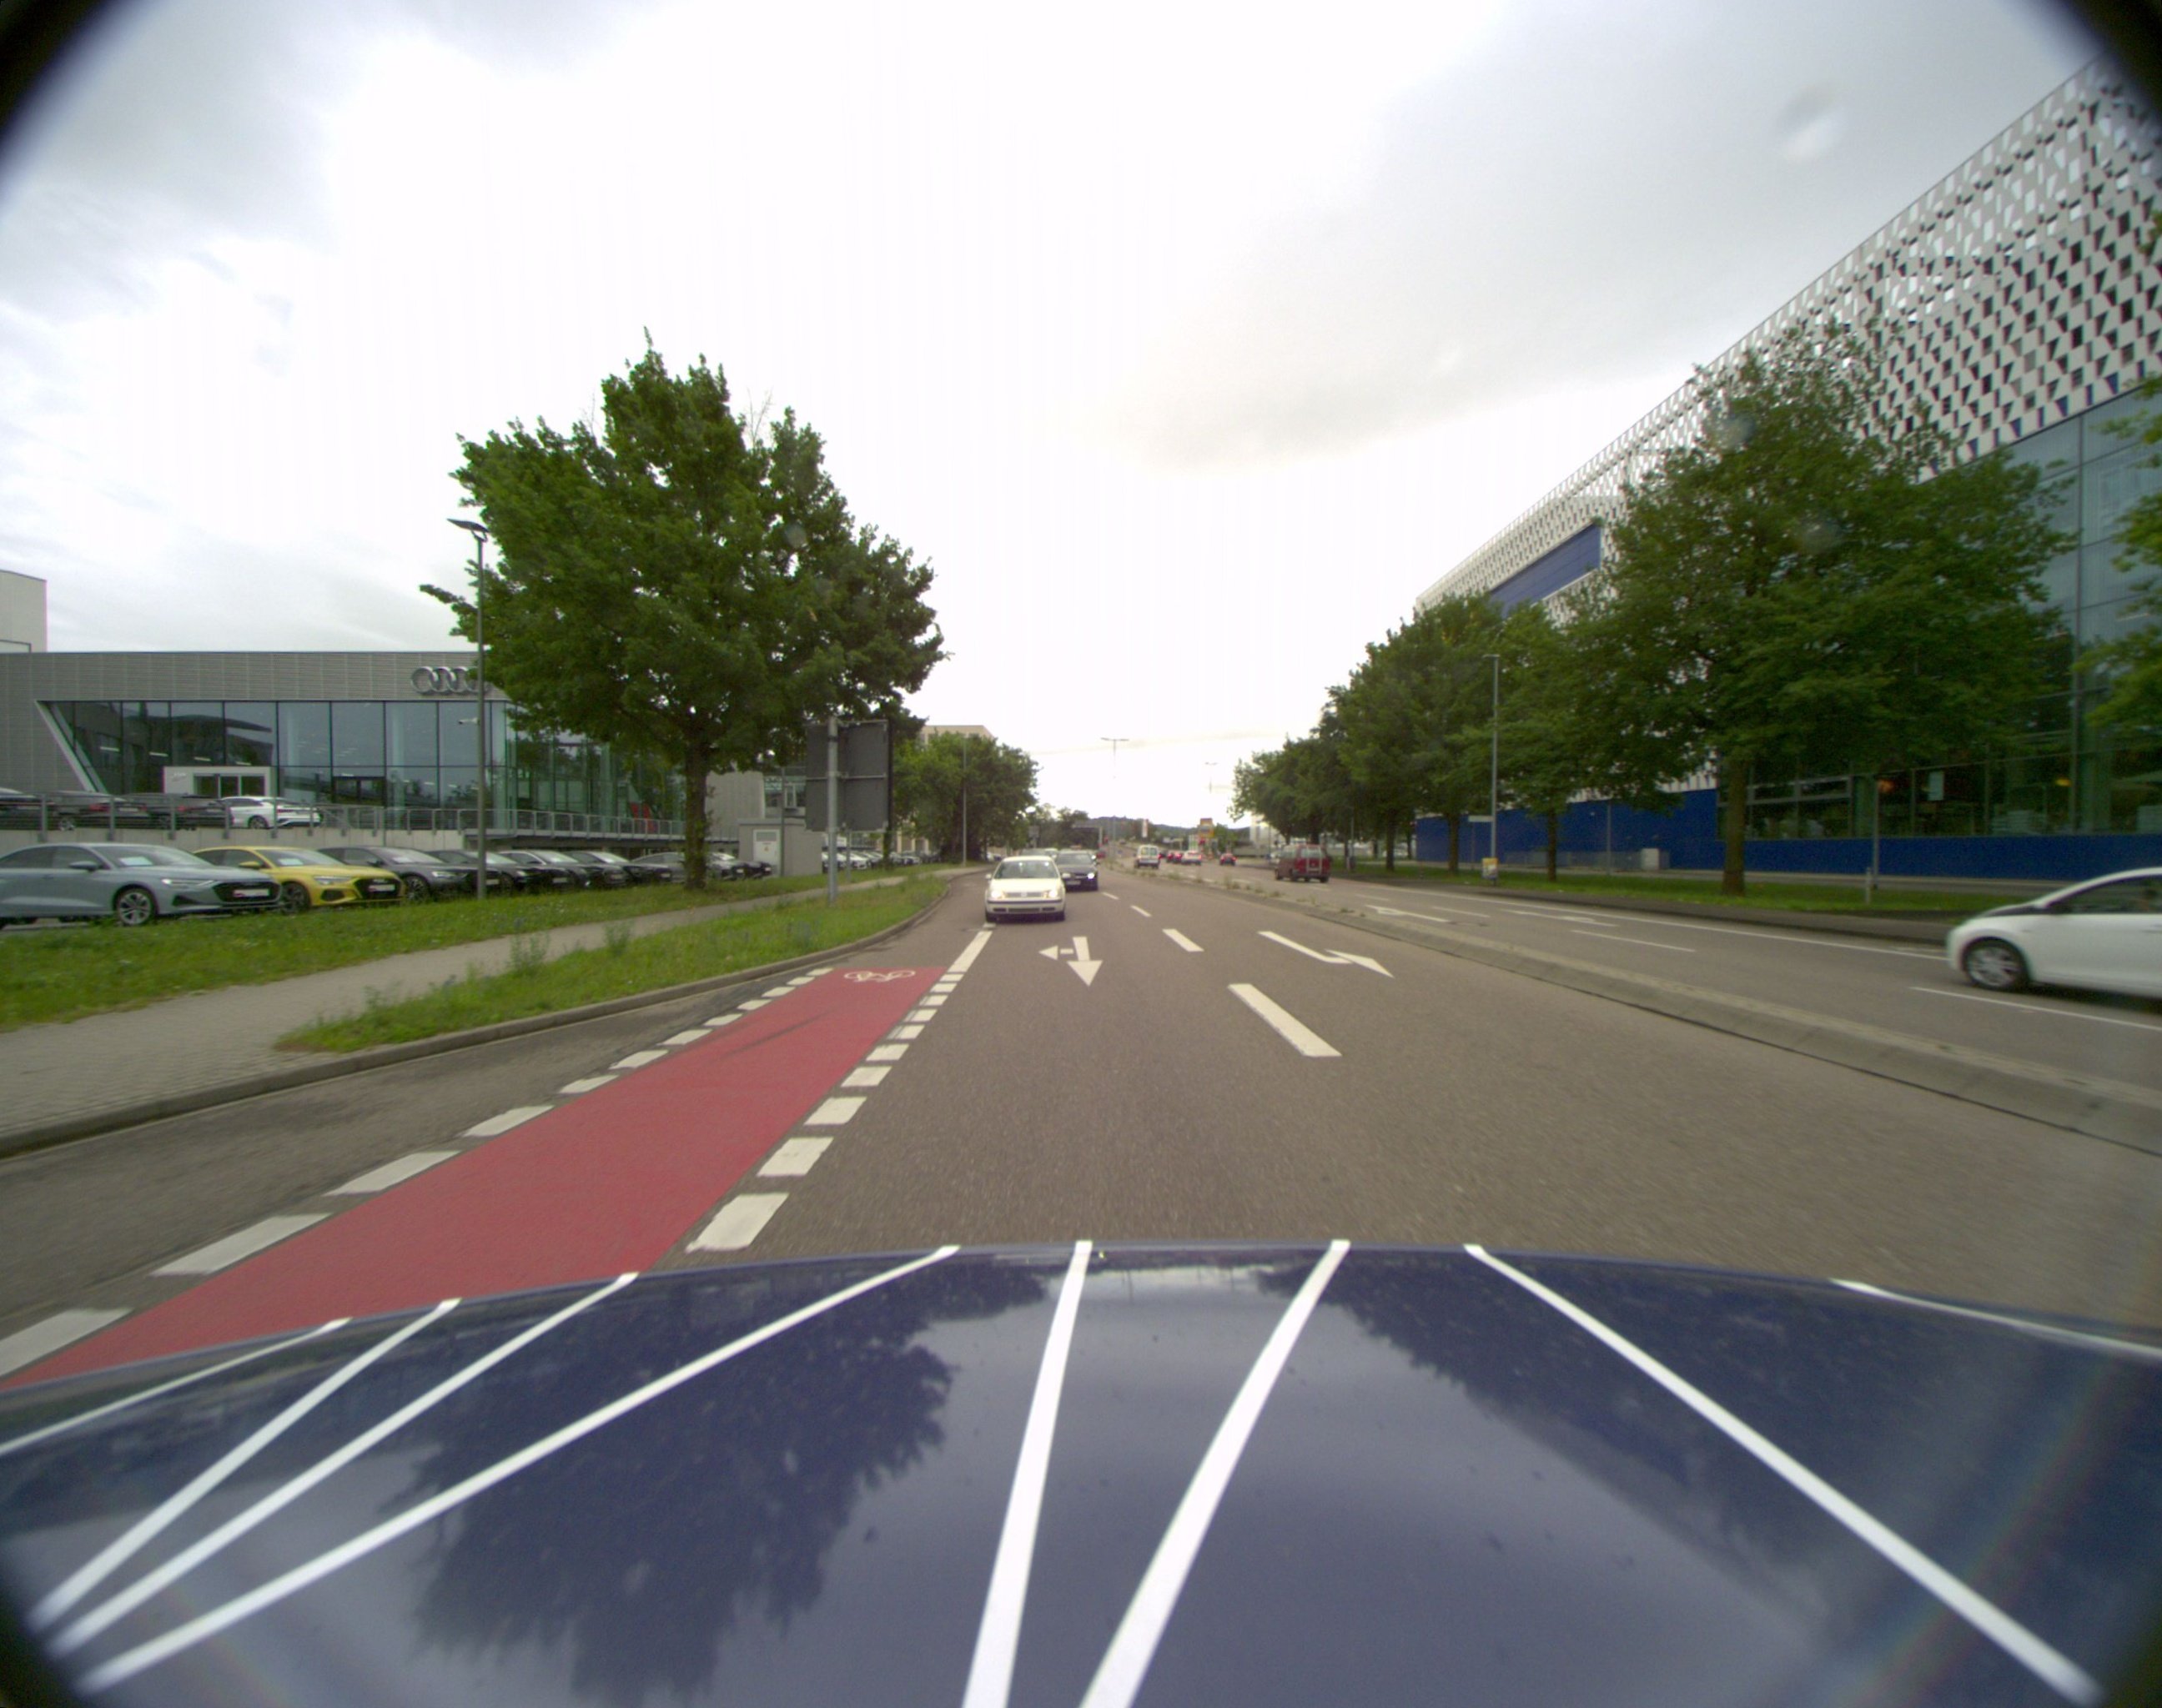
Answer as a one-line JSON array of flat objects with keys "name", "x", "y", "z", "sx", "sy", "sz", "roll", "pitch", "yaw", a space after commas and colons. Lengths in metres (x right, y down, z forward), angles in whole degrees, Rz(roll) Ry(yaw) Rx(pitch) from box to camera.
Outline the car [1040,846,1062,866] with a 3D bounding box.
[{"name": "car", "x": -2.723, "y": 0.149, "z": 70.052, "sx": 1.995, "sy": 1.838, "sz": 4.103, "roll": 0, "pitch": 0, "yaw": -1}]

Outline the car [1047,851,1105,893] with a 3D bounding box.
[{"name": "car", "x": -0.266, "y": 0.635, "z": 28.646, "sx": 1.837, "sy": 1.416, "sz": 3.998, "roll": -1, "pitch": 0, "yaw": -5}]

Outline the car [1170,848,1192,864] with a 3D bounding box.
[{"name": "car", "x": 11.861, "y": 0.258, "z": 90.450, "sx": 1.651, "sy": 1.788, "sz": 3.979, "roll": 2, "pitch": 0, "yaw": -5}]

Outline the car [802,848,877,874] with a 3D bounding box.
[{"name": "car", "x": -15.068, "y": 0.439, "z": 47.501, "sx": 4.040, "sy": 1.384, "sz": 1.727, "roll": -3, "pitch": 1, "yaw": 1}]

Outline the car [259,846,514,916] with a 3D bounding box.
[{"name": "car", "x": -16.013, "y": 0.597, "z": 17.675, "sx": 4.308, "sy": 1.350, "sz": 1.739, "roll": -3, "pitch": 1, "yaw": 1}]

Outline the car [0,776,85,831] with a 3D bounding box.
[{"name": "car", "x": -31.823, "y": -1.369, "z": 21.671, "sx": 4.308, "sy": 1.356, "sz": 1.832, "roll": -3, "pitch": 1, "yaw": 0}]

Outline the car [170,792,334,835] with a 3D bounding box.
[{"name": "car", "x": -32.320, "y": -1.552, "z": 29.704, "sx": 4.308, "sy": 1.356, "sz": 1.832, "roll": -3, "pitch": 1, "yaw": 0}]

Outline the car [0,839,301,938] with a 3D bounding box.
[{"name": "car", "x": -16.341, "y": 0.575, "z": 12.986, "sx": 4.198, "sy": 1.423, "sz": 1.739, "roll": -3, "pitch": 1, "yaw": 1}]

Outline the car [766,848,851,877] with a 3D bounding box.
[{"name": "car", "x": -15.237, "y": 0.482, "z": 42.554, "sx": 4.040, "sy": 1.384, "sz": 1.727, "roll": -3, "pitch": 1, "yaw": 1}]

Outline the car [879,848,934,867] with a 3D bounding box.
[{"name": "car", "x": -14.443, "y": 0.294, "z": 62.946, "sx": 4.040, "sy": 1.384, "sz": 1.727, "roll": -3, "pitch": 1, "yaw": 1}]

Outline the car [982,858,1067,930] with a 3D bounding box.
[{"name": "car", "x": -1.236, "y": 0.843, "z": 17.883, "sx": 1.726, "sy": 1.416, "sz": 3.940, "roll": -1, "pitch": 0, "yaw": -2}]

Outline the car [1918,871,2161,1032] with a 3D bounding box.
[{"name": "car", "x": 10.760, "y": 0.941, "z": 7.216, "sx": 1.628, "sy": 1.414, "sz": 3.611, "roll": 1, "pitch": 1, "yaw": 1}]

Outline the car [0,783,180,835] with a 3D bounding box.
[{"name": "car", "x": -32.275, "y": -1.412, "z": 24.419, "sx": 4.308, "sy": 1.356, "sz": 1.832, "roll": -3, "pitch": 1, "yaw": 0}]

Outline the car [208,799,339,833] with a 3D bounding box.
[{"name": "car", "x": -39.080, "y": -1.825, "z": 36.841, "sx": 4.308, "sy": 1.356, "sz": 1.832, "roll": -3, "pitch": 1, "yaw": 0}]

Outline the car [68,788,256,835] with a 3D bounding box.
[{"name": "car", "x": -32.453, "y": -1.471, "z": 26.929, "sx": 4.308, "sy": 1.356, "sz": 1.832, "roll": -3, "pitch": 1, "yaw": 0}]

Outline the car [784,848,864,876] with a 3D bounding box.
[{"name": "car", "x": -15.168, "y": 0.456, "z": 44.971, "sx": 4.040, "sy": 1.384, "sz": 1.727, "roll": -3, "pitch": 1, "yaw": 1}]

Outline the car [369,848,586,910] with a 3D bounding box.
[{"name": "car", "x": -16.095, "y": 0.646, "z": 20.422, "sx": 4.308, "sy": 1.370, "sz": 1.838, "roll": -3, "pitch": 1, "yaw": 1}]

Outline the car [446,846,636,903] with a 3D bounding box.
[{"name": "car", "x": -16.043, "y": 0.581, "z": 22.740, "sx": 4.308, "sy": 1.436, "sz": 1.844, "roll": -3, "pitch": 1, "yaw": 1}]

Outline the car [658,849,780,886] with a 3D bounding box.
[{"name": "car", "x": -15.624, "y": 0.568, "z": 32.945, "sx": 4.308, "sy": 1.309, "sz": 1.864, "roll": -3, "pitch": 1, "yaw": 1}]

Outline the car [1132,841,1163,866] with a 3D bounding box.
[{"name": "car", "x": 5.105, "y": -0.049, "z": 58.496, "sx": 1.651, "sy": 1.788, "sz": 3.979, "roll": 1, "pitch": 0, "yaw": -5}]

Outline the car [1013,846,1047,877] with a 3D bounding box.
[{"name": "car", "x": -2.840, "y": 0.366, "z": 42.382, "sx": 1.788, "sy": 1.638, "sz": 3.998, "roll": 0, "pitch": 1, "yaw": -4}]

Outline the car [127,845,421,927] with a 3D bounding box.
[{"name": "car", "x": -16.195, "y": 0.605, "z": 15.406, "sx": 4.055, "sy": 1.369, "sz": 1.795, "roll": -3, "pitch": 1, "yaw": 2}]

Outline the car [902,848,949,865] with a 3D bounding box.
[{"name": "car", "x": -14.556, "y": 0.243, "z": 71.268, "sx": 4.040, "sy": 1.384, "sz": 1.727, "roll": -3, "pitch": 1, "yaw": 1}]

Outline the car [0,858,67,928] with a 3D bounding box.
[{"name": "car", "x": -26.801, "y": 0.954, "z": 17.527, "sx": 4.308, "sy": 1.592, "sz": 1.902, "roll": -1, "pitch": 1, "yaw": 2}]

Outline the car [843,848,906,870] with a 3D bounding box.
[{"name": "car", "x": -15.019, "y": 0.383, "z": 55.502, "sx": 4.040, "sy": 1.384, "sz": 1.727, "roll": -3, "pitch": 1, "yaw": 1}]

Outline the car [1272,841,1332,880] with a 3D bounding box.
[{"name": "car", "x": 11.642, "y": 0.312, "z": 40.348, "sx": 1.771, "sy": 1.913, "sz": 4.908, "roll": 1, "pitch": 0, "yaw": 0}]

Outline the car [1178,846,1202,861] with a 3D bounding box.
[{"name": "car", "x": 12.100, "y": -0.057, "z": 84.276, "sx": 1.728, "sy": 1.602, "sz": 3.979, "roll": 2, "pitch": 0, "yaw": -5}]

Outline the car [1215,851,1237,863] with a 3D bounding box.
[{"name": "car", "x": 17.738, "y": 0.306, "z": 93.024, "sx": 1.651, "sy": 1.382, "sz": 3.979, "roll": 2, "pitch": 0, "yaw": -5}]

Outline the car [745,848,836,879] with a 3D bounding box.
[{"name": "car", "x": -15.284, "y": 0.494, "z": 40.134, "sx": 4.040, "sy": 1.384, "sz": 1.727, "roll": -3, "pitch": 1, "yaw": 1}]

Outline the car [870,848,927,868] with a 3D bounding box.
[{"name": "car", "x": -14.439, "y": 0.314, "z": 60.363, "sx": 4.040, "sy": 1.384, "sz": 1.727, "roll": -3, "pitch": 1, "yaw": 1}]

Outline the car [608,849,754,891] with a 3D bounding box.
[{"name": "car", "x": -15.976, "y": 0.618, "z": 30.503, "sx": 4.763, "sy": 1.416, "sz": 1.902, "roll": -3, "pitch": 1, "yaw": 1}]

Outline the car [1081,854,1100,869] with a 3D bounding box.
[{"name": "car", "x": 0.976, "y": 0.709, "z": 74.881, "sx": 1.836, "sy": 1.416, "sz": 4.000, "roll": -1, "pitch": 0, "yaw": 1}]

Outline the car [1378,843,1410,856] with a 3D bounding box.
[{"name": "car", "x": 47.063, "y": -0.681, "z": 114.194, "sx": 3.996, "sy": 1.809, "sz": 1.866, "roll": 0, "pitch": 1, "yaw": 2}]

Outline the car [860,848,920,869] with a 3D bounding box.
[{"name": "car", "x": -14.601, "y": 0.331, "z": 58.173, "sx": 4.040, "sy": 1.384, "sz": 1.727, "roll": -3, "pitch": 1, "yaw": 1}]

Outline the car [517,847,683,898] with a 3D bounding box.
[{"name": "car", "x": -15.947, "y": 0.583, "z": 25.333, "sx": 4.308, "sy": 1.436, "sz": 1.844, "roll": -3, "pitch": 1, "yaw": 1}]

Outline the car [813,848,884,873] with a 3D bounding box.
[{"name": "car", "x": -15.227, "y": 0.434, "z": 49.847, "sx": 4.040, "sy": 1.384, "sz": 1.727, "roll": -3, "pitch": 1, "yaw": 1}]

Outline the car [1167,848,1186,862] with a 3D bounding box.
[{"name": "car", "x": 12.587, "y": 0.145, "z": 100.421, "sx": 1.651, "sy": 1.788, "sz": 3.979, "roll": 2, "pitch": 0, "yaw": -5}]
